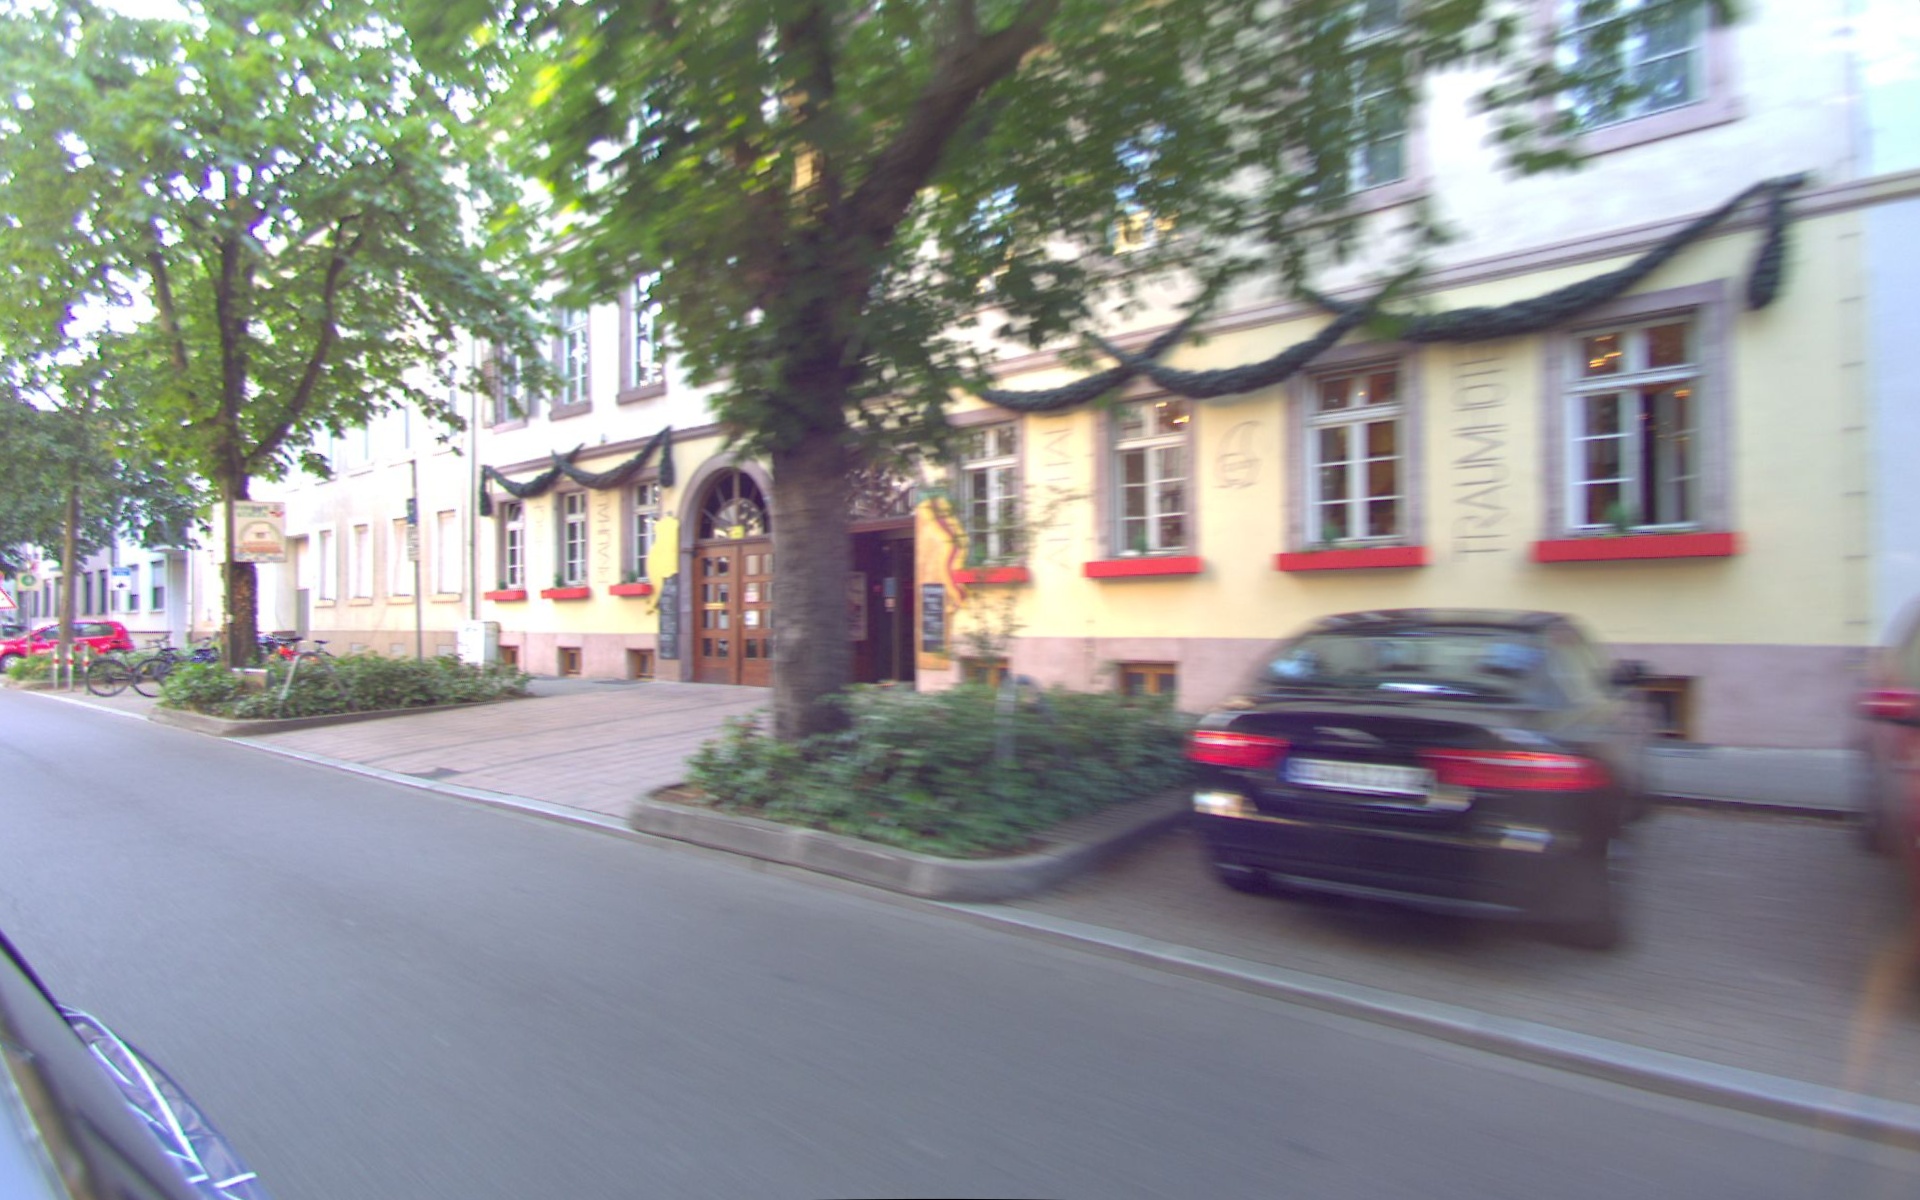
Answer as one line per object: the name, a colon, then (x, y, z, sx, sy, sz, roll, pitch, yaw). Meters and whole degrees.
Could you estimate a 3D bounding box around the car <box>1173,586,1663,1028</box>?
car: (2.878, 0.669, 5.667, 1.714, 1.417, 4.386, 0, 1, 35)

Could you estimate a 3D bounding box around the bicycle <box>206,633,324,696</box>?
bicycle: (-13.663, 1.238, 19.945, 0.508, 1.107, 1.849, -1, 0, 33)

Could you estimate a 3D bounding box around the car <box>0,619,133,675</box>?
car: (-26.959, 1.368, 30.004, 1.670, 1.416, 3.457, -2, 1, 36)

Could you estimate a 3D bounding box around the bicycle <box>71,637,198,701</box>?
bicycle: (-16.043, 1.317, 19.722, 0.479, 1.106, 1.849, -1, 0, 32)

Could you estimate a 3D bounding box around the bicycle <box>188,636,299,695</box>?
bicycle: (-15.033, 1.353, 21.291, 0.479, 1.107, 1.849, -1, 0, 32)

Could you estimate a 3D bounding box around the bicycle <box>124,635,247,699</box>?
bicycle: (-15.136, 1.291, 19.829, 0.479, 1.107, 1.849, -1, 0, 32)

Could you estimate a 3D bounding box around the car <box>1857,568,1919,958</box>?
car: (4.899, 0.591, 4.108, 1.657, 1.460, 3.648, -2, 1, 39)

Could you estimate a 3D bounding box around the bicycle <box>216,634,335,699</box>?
bicycle: (-13.146, 1.244, 19.485, 0.479, 1.107, 1.849, -1, 0, 32)

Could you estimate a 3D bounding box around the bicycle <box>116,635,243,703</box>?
bicycle: (-14.856, 1.284, 19.309, 0.479, 1.153, 1.849, -1, 0, 32)

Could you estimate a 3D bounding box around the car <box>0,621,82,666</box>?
car: (-33.572, 1.580, 35.780, 1.587, 1.430, 3.511, -2, 1, 36)

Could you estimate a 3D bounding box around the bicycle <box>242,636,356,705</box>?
bicycle: (-12.058, 1.261, 18.517, 0.479, 1.107, 1.693, -1, 0, 33)
